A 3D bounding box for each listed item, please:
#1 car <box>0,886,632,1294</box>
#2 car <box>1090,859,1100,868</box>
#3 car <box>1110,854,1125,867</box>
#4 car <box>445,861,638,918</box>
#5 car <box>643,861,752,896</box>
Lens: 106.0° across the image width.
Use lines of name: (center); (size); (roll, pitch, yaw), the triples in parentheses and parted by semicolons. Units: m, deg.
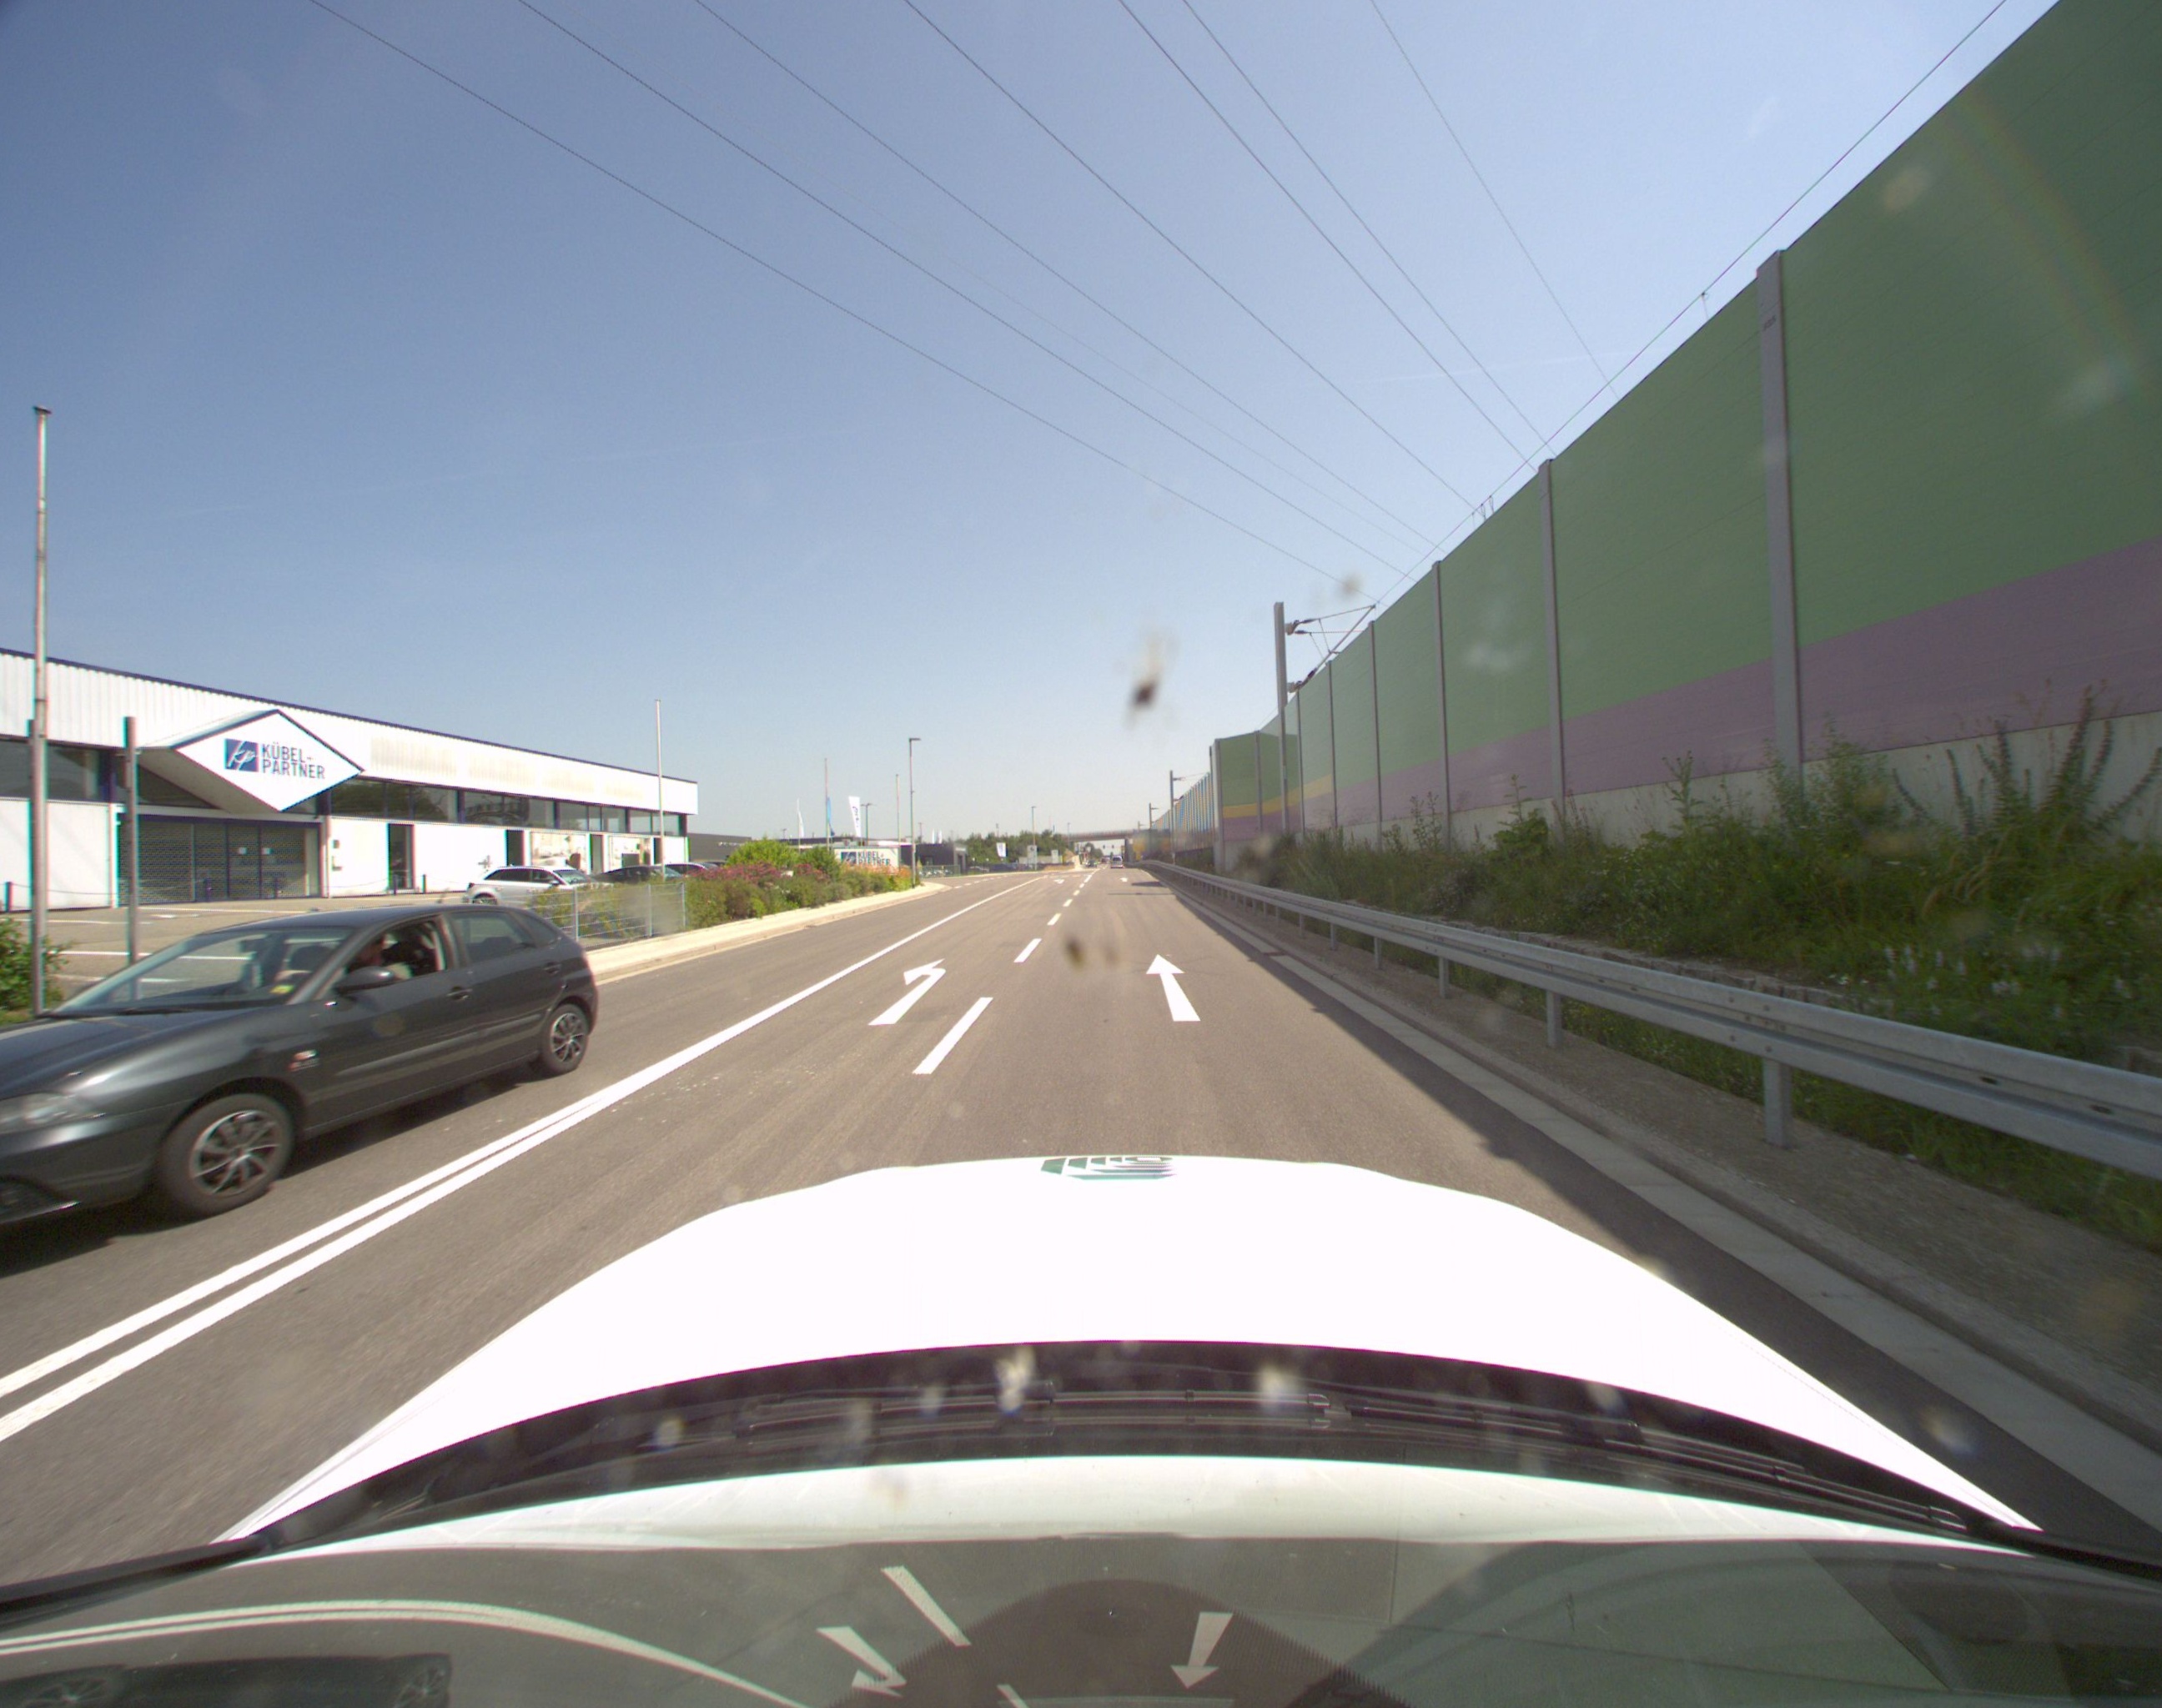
car: (-4.887, 1.048, 5.177); (1.664, 1.423, 4.002); (-4, 0, 2)
car: (2.908, 1.996, 169.010); (1.870, 1.673, 4.293); (-2, 0, 2)
car: (5.173, 0.893, 114.955); (1.985, 1.757, 4.004); (-2, 0, 4)
car: (-15.035, 0.966, 22.863); (4.210, 1.456, 1.764); (1, 0, 0)
car: (-14.957, 0.943, 31.872); (3.497, 1.254, 1.504); (1, 0, 0)
